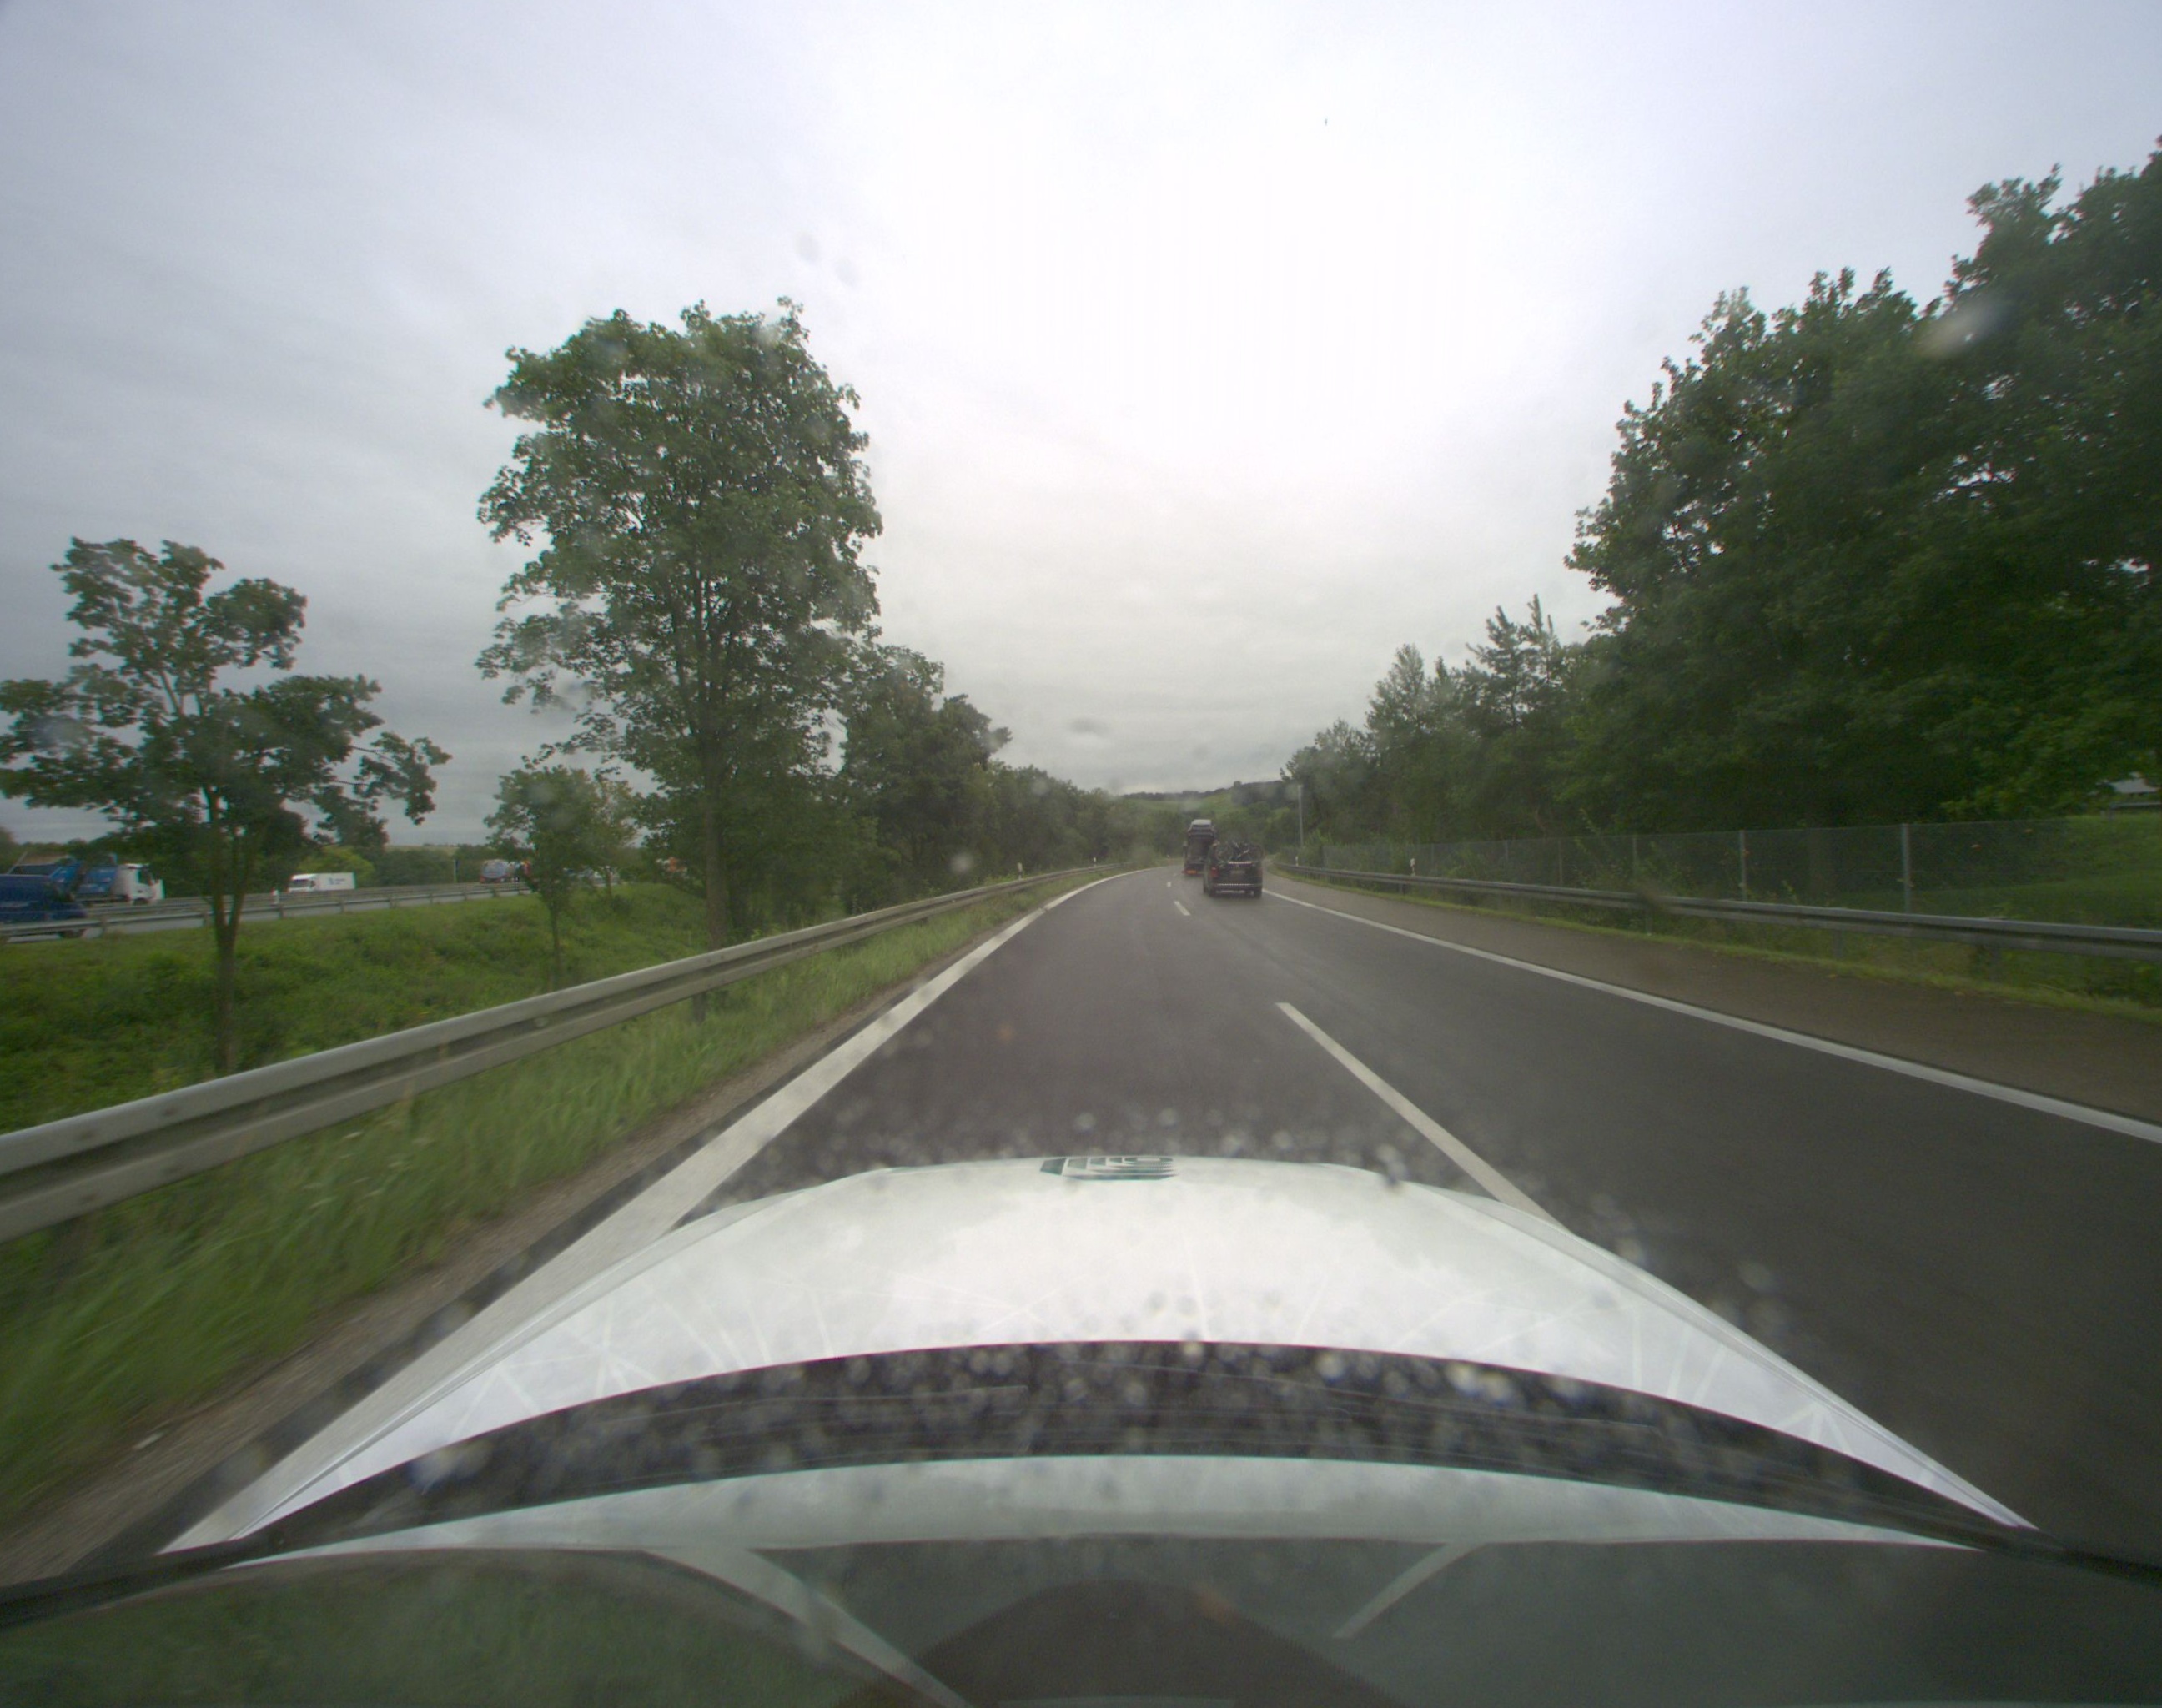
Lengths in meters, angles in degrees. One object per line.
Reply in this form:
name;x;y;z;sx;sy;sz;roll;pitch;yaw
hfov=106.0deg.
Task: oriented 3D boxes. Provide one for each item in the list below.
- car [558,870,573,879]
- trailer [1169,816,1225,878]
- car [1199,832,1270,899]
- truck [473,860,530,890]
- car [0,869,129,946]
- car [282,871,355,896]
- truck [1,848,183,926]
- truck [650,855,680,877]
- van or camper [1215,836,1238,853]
car;-121.403;4.835;191.729;1.999;1.837;3.977;-3;2;-17
trailer;8.241;-0.491;59.252;3.432;3.999;12.044;1;0;5
car;5.615;0.370;30.427;2.099;2.264;5.906;-1;0;6
truck;-68.367;2.412;96.302;2.864;3.365;8.581;-2;0;-17
car;-33.917;1.650;25.458;2.379;2.266;6.220;-2;0;-17
car;-99.956;3.797;107.001;2.738;2.982;10.027;-2;-1;-16
truck;-53.538;1.694;44.424;2.644;3.812;7.301;-2;-1;-17
truck;-87.377;2.488;171.053;3.742;4.417;10.136;-1;0;-17
van or camper;19.545;-1.243;109.208;2.074;2.231;4.454;0;0;22
